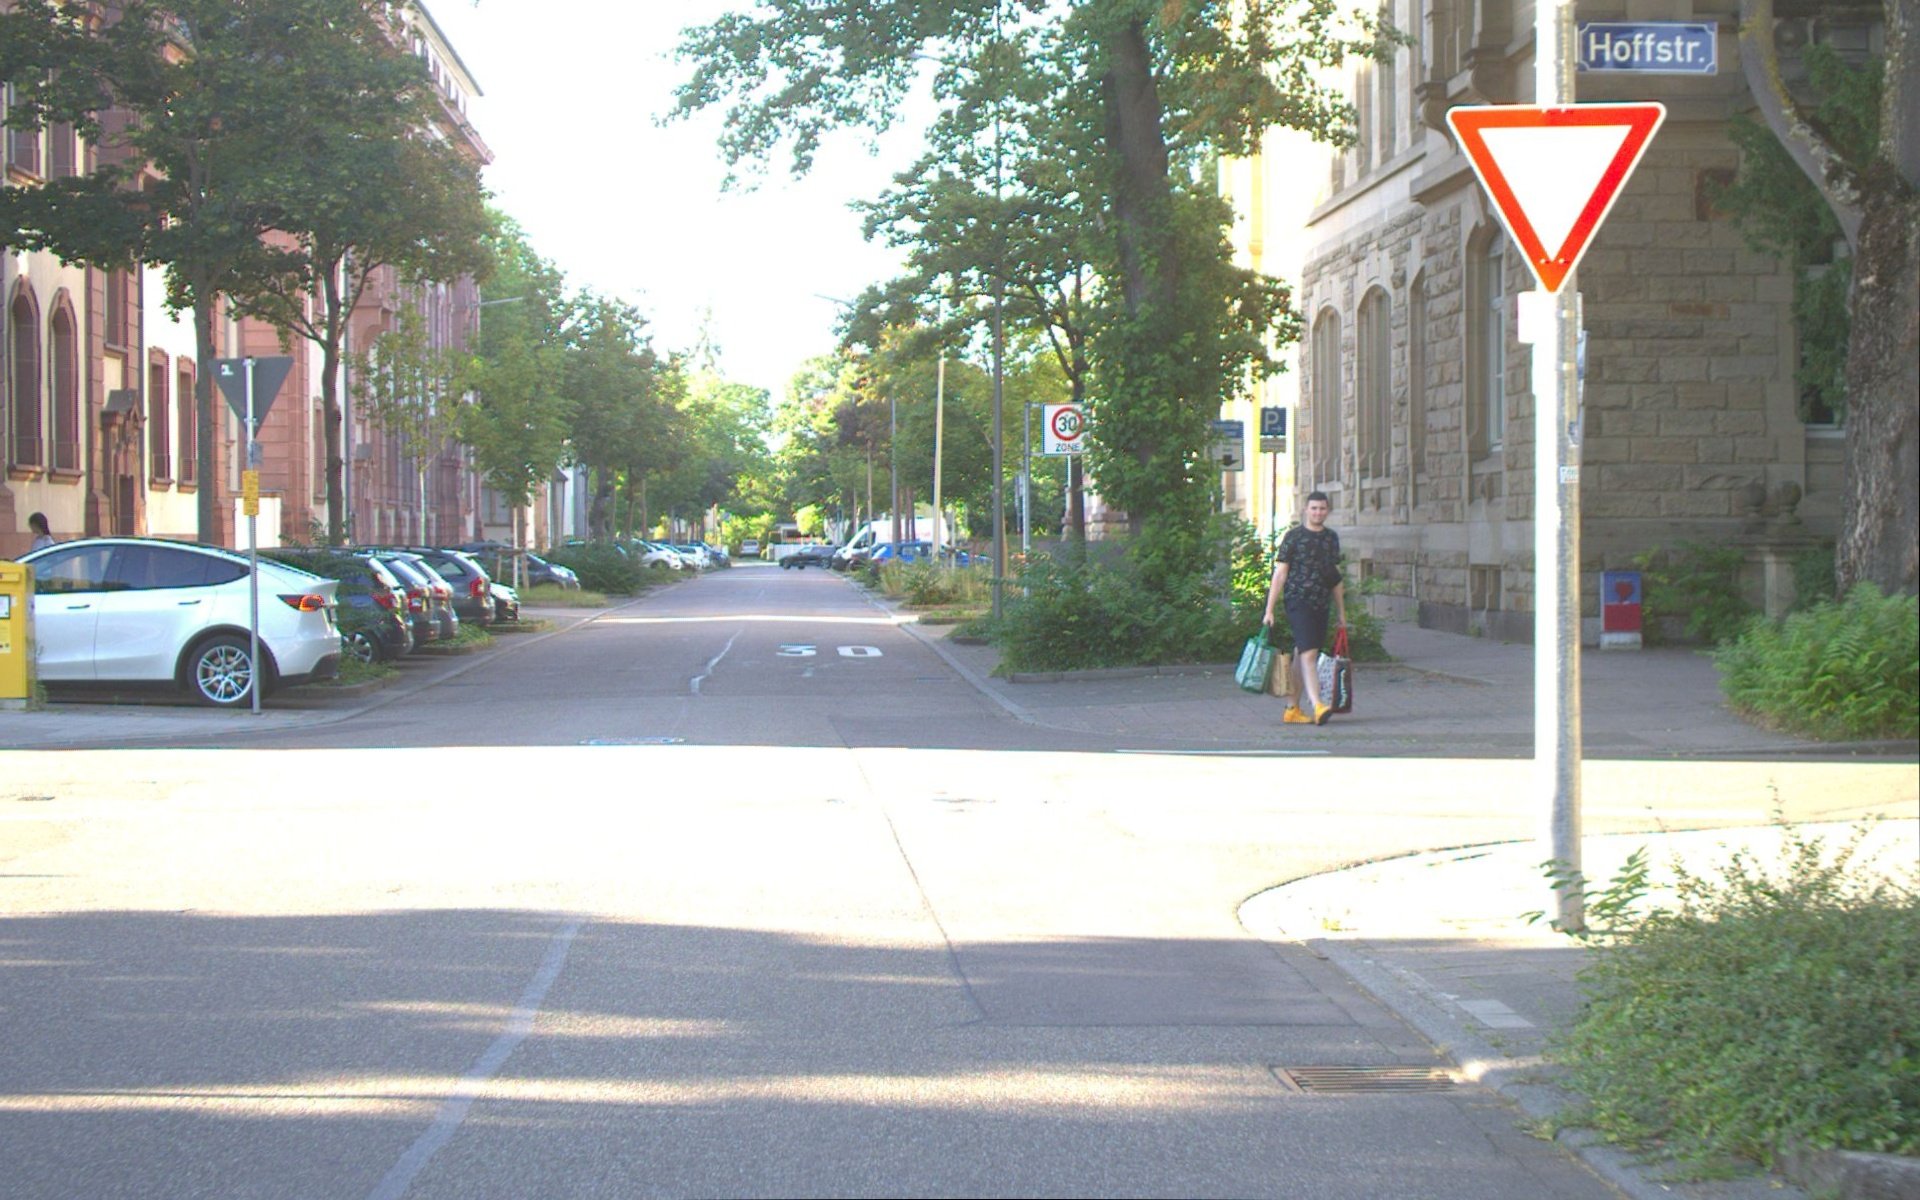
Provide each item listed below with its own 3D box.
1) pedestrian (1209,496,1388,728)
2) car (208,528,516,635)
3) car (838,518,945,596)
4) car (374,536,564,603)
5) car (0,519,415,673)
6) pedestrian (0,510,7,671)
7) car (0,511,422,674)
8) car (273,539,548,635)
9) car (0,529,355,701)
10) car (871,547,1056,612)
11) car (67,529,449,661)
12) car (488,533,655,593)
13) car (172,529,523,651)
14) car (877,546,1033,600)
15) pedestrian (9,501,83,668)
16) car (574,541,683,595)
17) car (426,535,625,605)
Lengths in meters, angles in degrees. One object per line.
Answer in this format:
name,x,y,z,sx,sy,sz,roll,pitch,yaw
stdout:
pedestrian,2.768,0.083,28.161,1.060,1.851,1.002,0,1,-34
car,-9.094,-0.287,52.557,4.482,1.602,1.842,0,1,-4
car,-3.163,-1.996,159.129,4.885,3.605,1.842,0,1,-3
car,-11.948,-0.750,83.897,4.482,1.602,1.842,0,1,-4
car,-8.607,-0.068,39.495,4.482,1.711,1.842,0,1,-4
pedestrian,-12.048,-0.117,41.874,0.718,1.955,0.787,0,0,-5
car,-8.201,-0.099,37.444,4.482,1.711,1.842,0,1,-4
car,-9.286,-0.236,58.355,4.482,1.602,1.842,0,1,-4
car,-8.317,0.126,32.823,4.841,1.588,1.842,0,1,-4
car,0.065,-0.514,86.038,4.482,1.602,1.842,0,1,-4
car,-8.708,-0.076,42.954,4.482,1.602,1.842,0,1,-4
car,-10.589,-1.009,93.904,4.482,1.602,1.842,0,1,-4
car,-8.159,-0.145,46.109,4.482,1.602,1.842,0,1,-4
car,-0.172,-0.823,103.690,4.582,1.602,1.842,0,1,-4
pedestrian,-10.804,-0.182,40.670,0.784,1.955,0.721,0,0,-10
car,-13.984,-1.349,145.215,4.582,2.256,1.842,0,1,-4
car,-10.005,-0.695,79.410,4.482,1.602,1.842,0,1,-4
